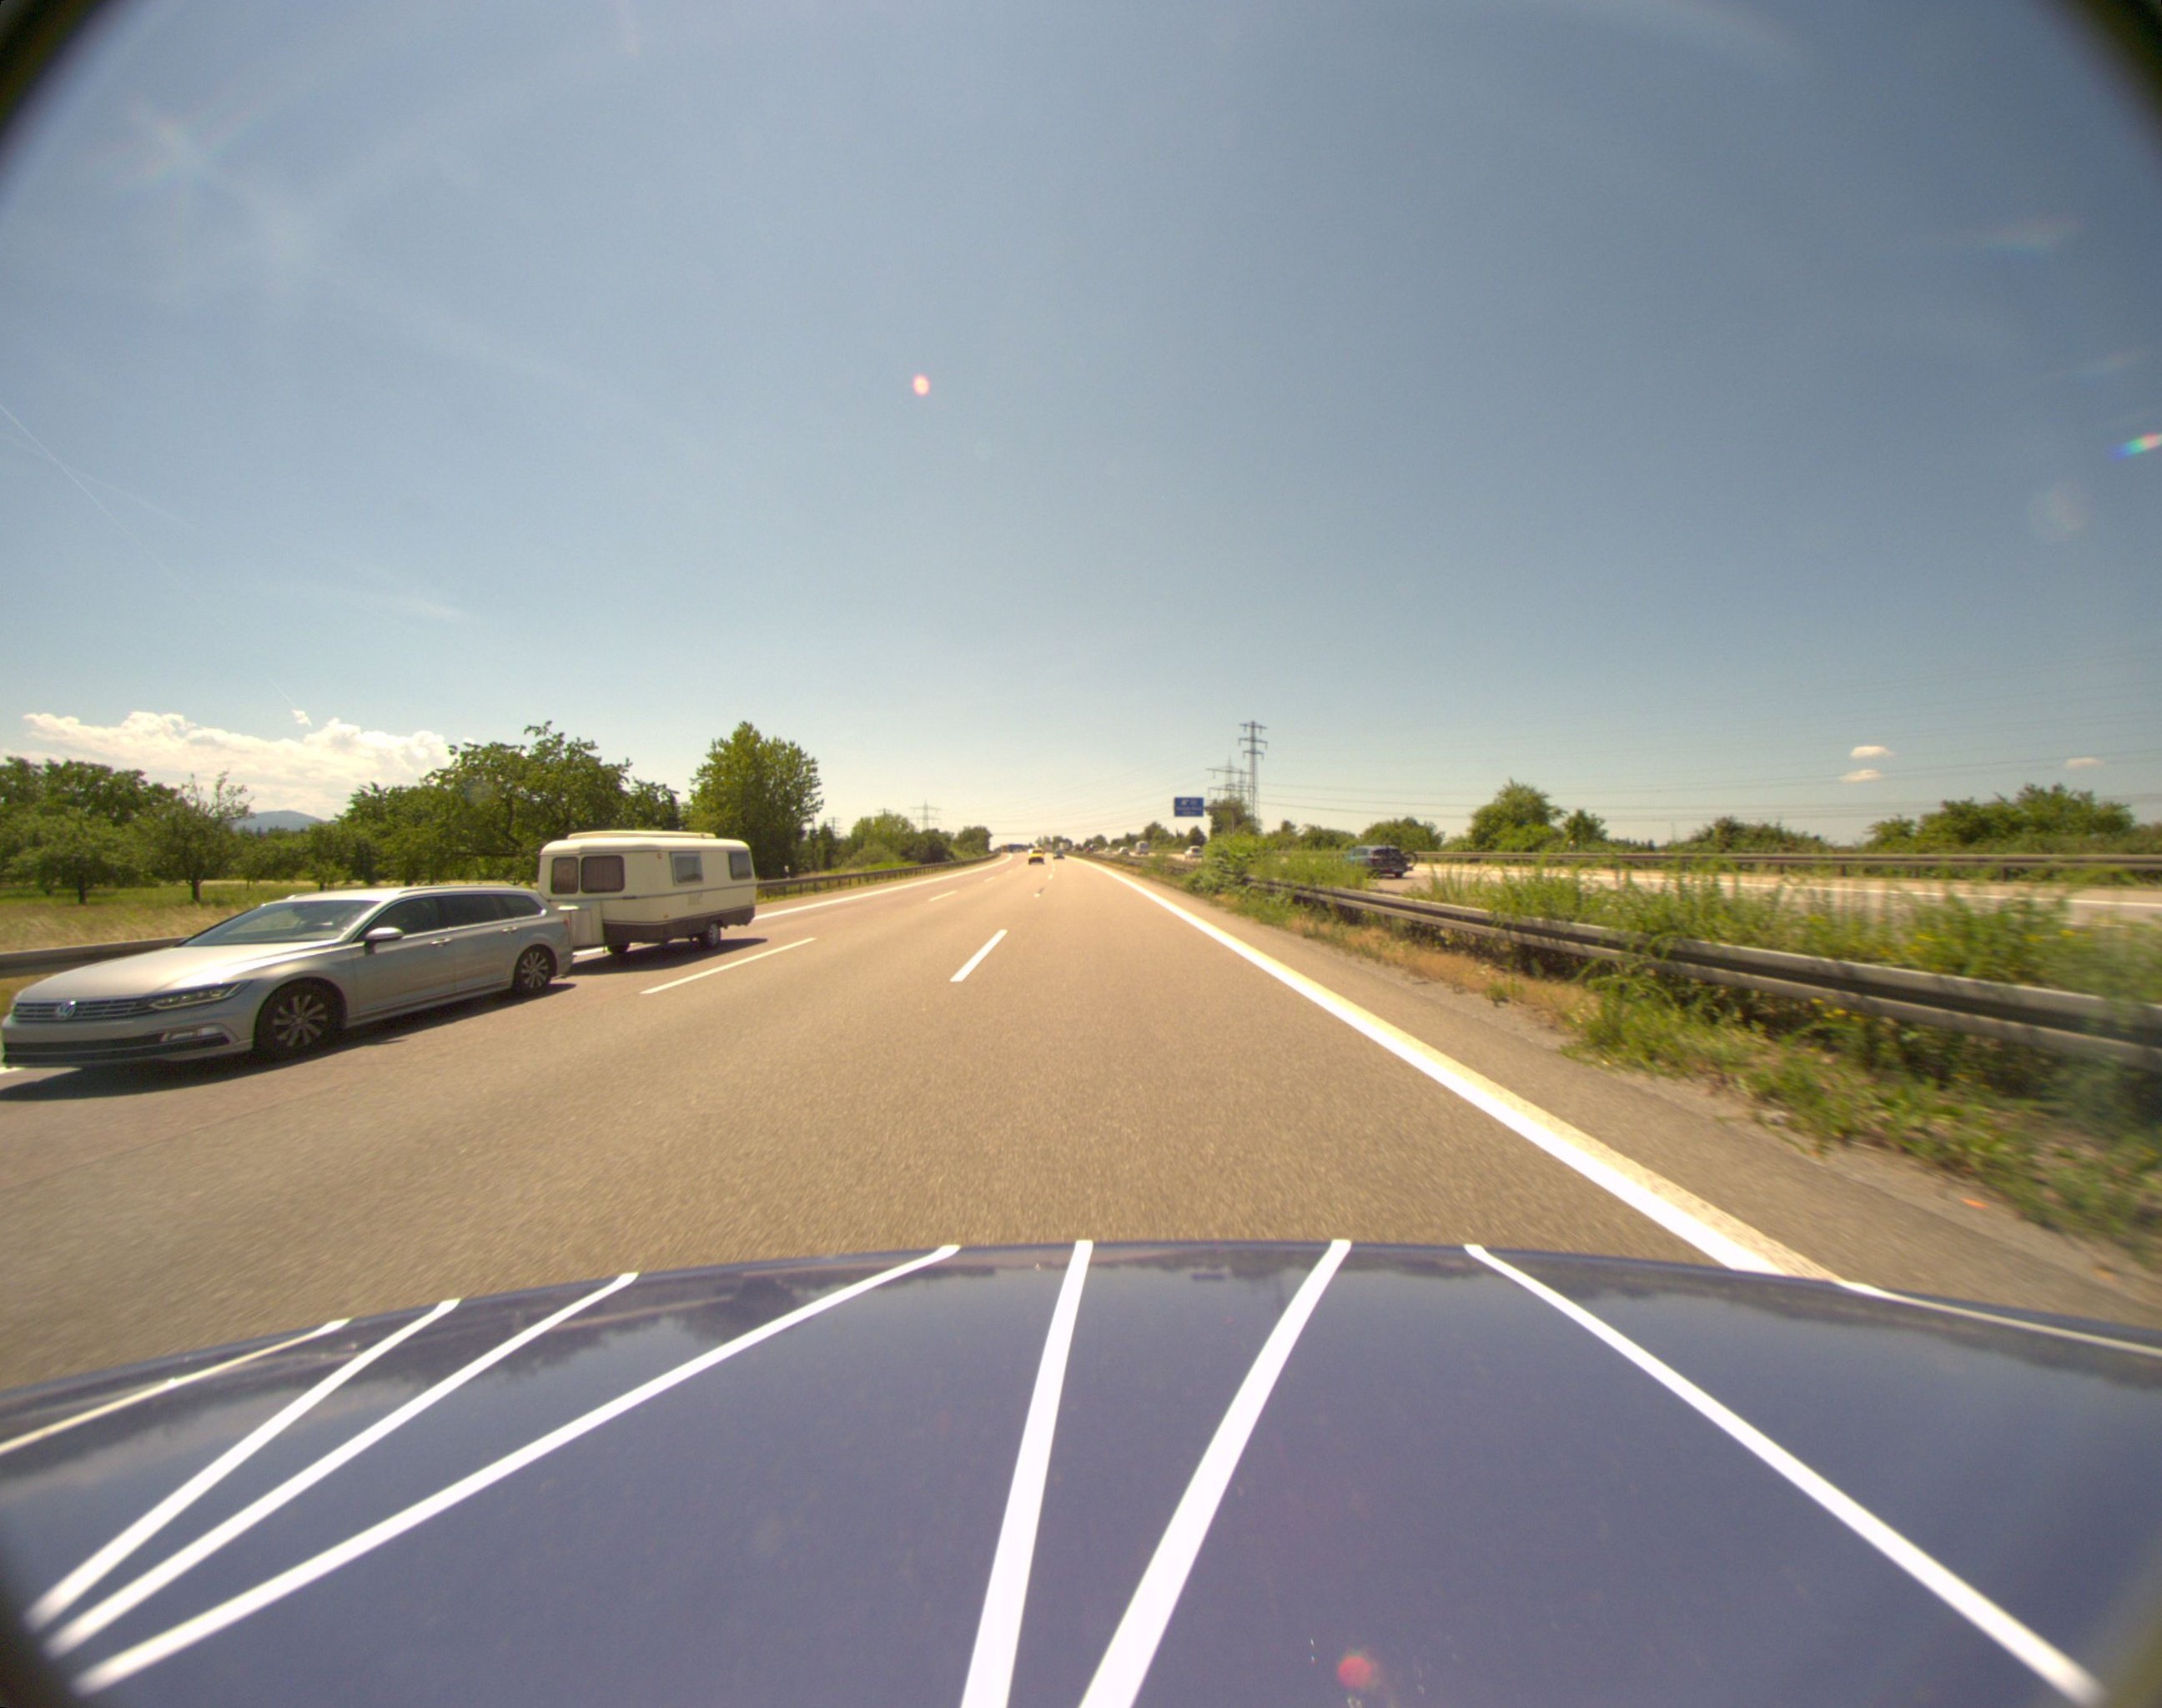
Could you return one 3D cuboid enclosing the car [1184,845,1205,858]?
[{"bbox_3d":[14.803,-0.354,99.575,1.752,1.531,4.826,-3,0,-2],"label":"car"}]

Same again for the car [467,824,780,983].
[{"bbox_3d":[-7.751,0.758,13.793,2.448,2.308,5.322,-1,-1,0],"label":"car"}]

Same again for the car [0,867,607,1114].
[{"bbox_3d":[-7.649,0.993,7.951,2.050,1.648,5.509,-1,-1,-2],"label":"car"}]

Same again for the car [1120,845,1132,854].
[{"bbox_3d":[8.922,-0.865,151.015,1.793,1.670,4.900,-2,-1,-3],"label":"car"}]

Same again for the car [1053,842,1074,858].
[{"bbox_3d":[-3.018,-0.698,129.043,2.689,2.509,5.963,0,-1,-9],"label":"car"}]

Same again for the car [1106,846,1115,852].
[{"bbox_3d":[8.058,-1.371,206.769,1.999,1.449,4.086,-2,1,-2],"label":"car"}]

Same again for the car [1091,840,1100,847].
[{"bbox_3d":[4.565,-3.387,245.654,2.137,2.463,6.329,-2,1,-6],"label":"car"}]

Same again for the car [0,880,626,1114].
[{"bbox_3d":[-7.662,1.180,8.426,1.891,1.506,5.379,-3,0,0],"label":"car"}]

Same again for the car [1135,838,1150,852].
[{"bbox_3d":[12.252,-1.729,151.808,1.999,2.670,7.179,-2,1,-4],"label":"car"}]

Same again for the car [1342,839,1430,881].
[{"bbox_3d":[13.341,0.197,33.537,1.999,1.679,4.501,-2,1,-1],"label":"car"}]

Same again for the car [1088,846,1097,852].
[{"bbox_3d":[3.160,-1.329,214.072,1.999,1.688,4.604,-2,1,-5],"label":"car"}]

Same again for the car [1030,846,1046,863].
[{"bbox_3d":[-5.273,0.041,94.005,1.956,2.001,5.432,0,-1,-3],"label":"car"}]
